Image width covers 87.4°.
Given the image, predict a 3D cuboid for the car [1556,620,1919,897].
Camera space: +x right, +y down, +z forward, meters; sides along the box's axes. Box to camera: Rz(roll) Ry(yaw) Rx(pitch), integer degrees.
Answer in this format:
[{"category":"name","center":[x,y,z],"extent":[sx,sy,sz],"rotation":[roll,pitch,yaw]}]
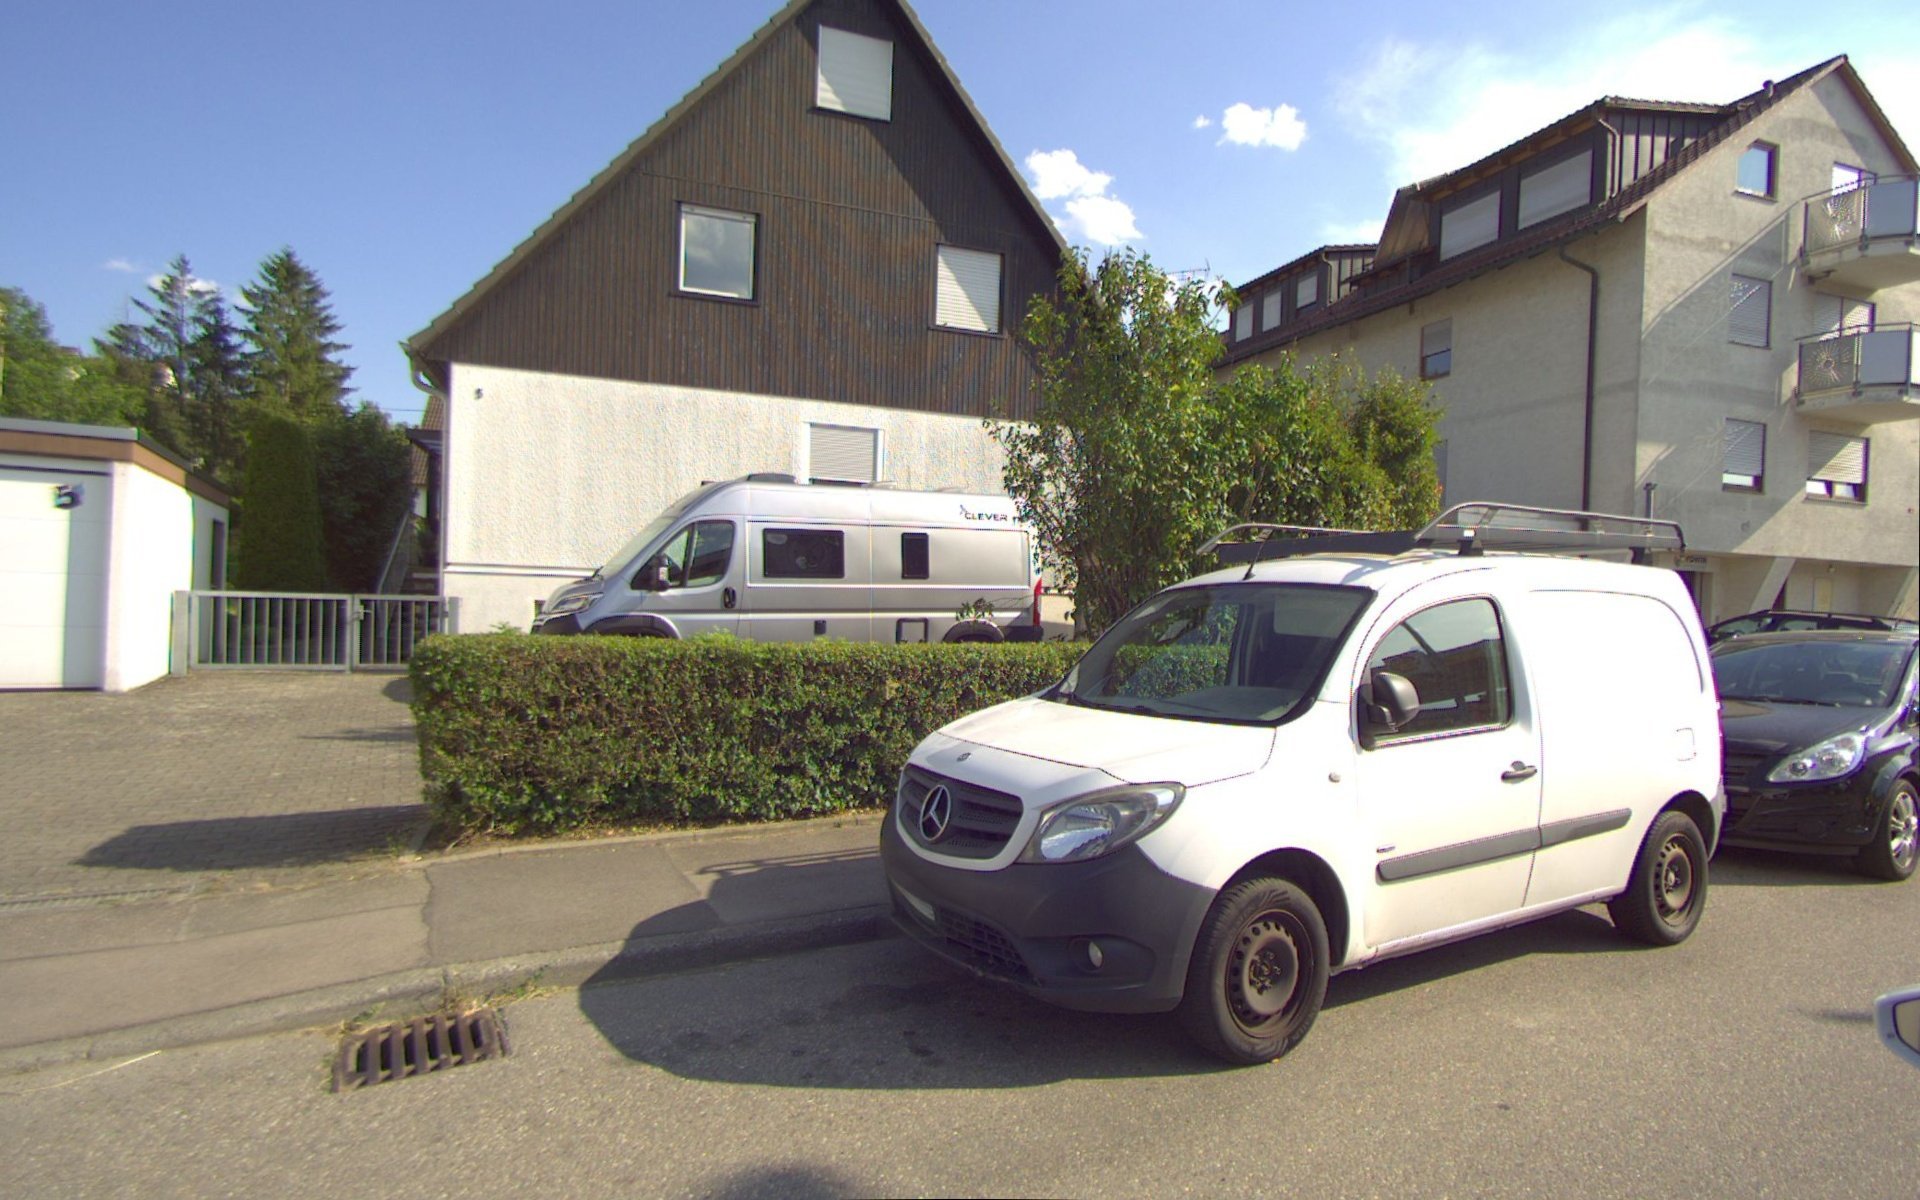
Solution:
[{"category":"car","center":[6.152,0.921,7.149],"extent":[3.789,1.471,1.664],"rotation":[2,-1,-30]}]

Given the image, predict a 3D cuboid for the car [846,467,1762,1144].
[{"category":"car","center":[1.728,0.630,4.621],"extent":[4.143,1.897,1.708],"rotation":[2,-1,-30]}]

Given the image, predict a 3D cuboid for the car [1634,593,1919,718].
[{"category":"car","center":[14.200,0.849,17.285],"extent":[1.735,1.559,3.981],"rotation":[1,5,-19]}]

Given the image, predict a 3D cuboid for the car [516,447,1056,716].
[{"category":"car","center":[-2.002,-0.136,12.110],"extent":[6.014,2.631,2.151],"rotation":[1,1,-27]}]

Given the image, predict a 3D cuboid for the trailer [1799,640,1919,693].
[{"category":"trailer","center":[18.964,1.387,20.544],"extent":[2.843,0.866,1.330],"rotation":[4,1,-14]}]
